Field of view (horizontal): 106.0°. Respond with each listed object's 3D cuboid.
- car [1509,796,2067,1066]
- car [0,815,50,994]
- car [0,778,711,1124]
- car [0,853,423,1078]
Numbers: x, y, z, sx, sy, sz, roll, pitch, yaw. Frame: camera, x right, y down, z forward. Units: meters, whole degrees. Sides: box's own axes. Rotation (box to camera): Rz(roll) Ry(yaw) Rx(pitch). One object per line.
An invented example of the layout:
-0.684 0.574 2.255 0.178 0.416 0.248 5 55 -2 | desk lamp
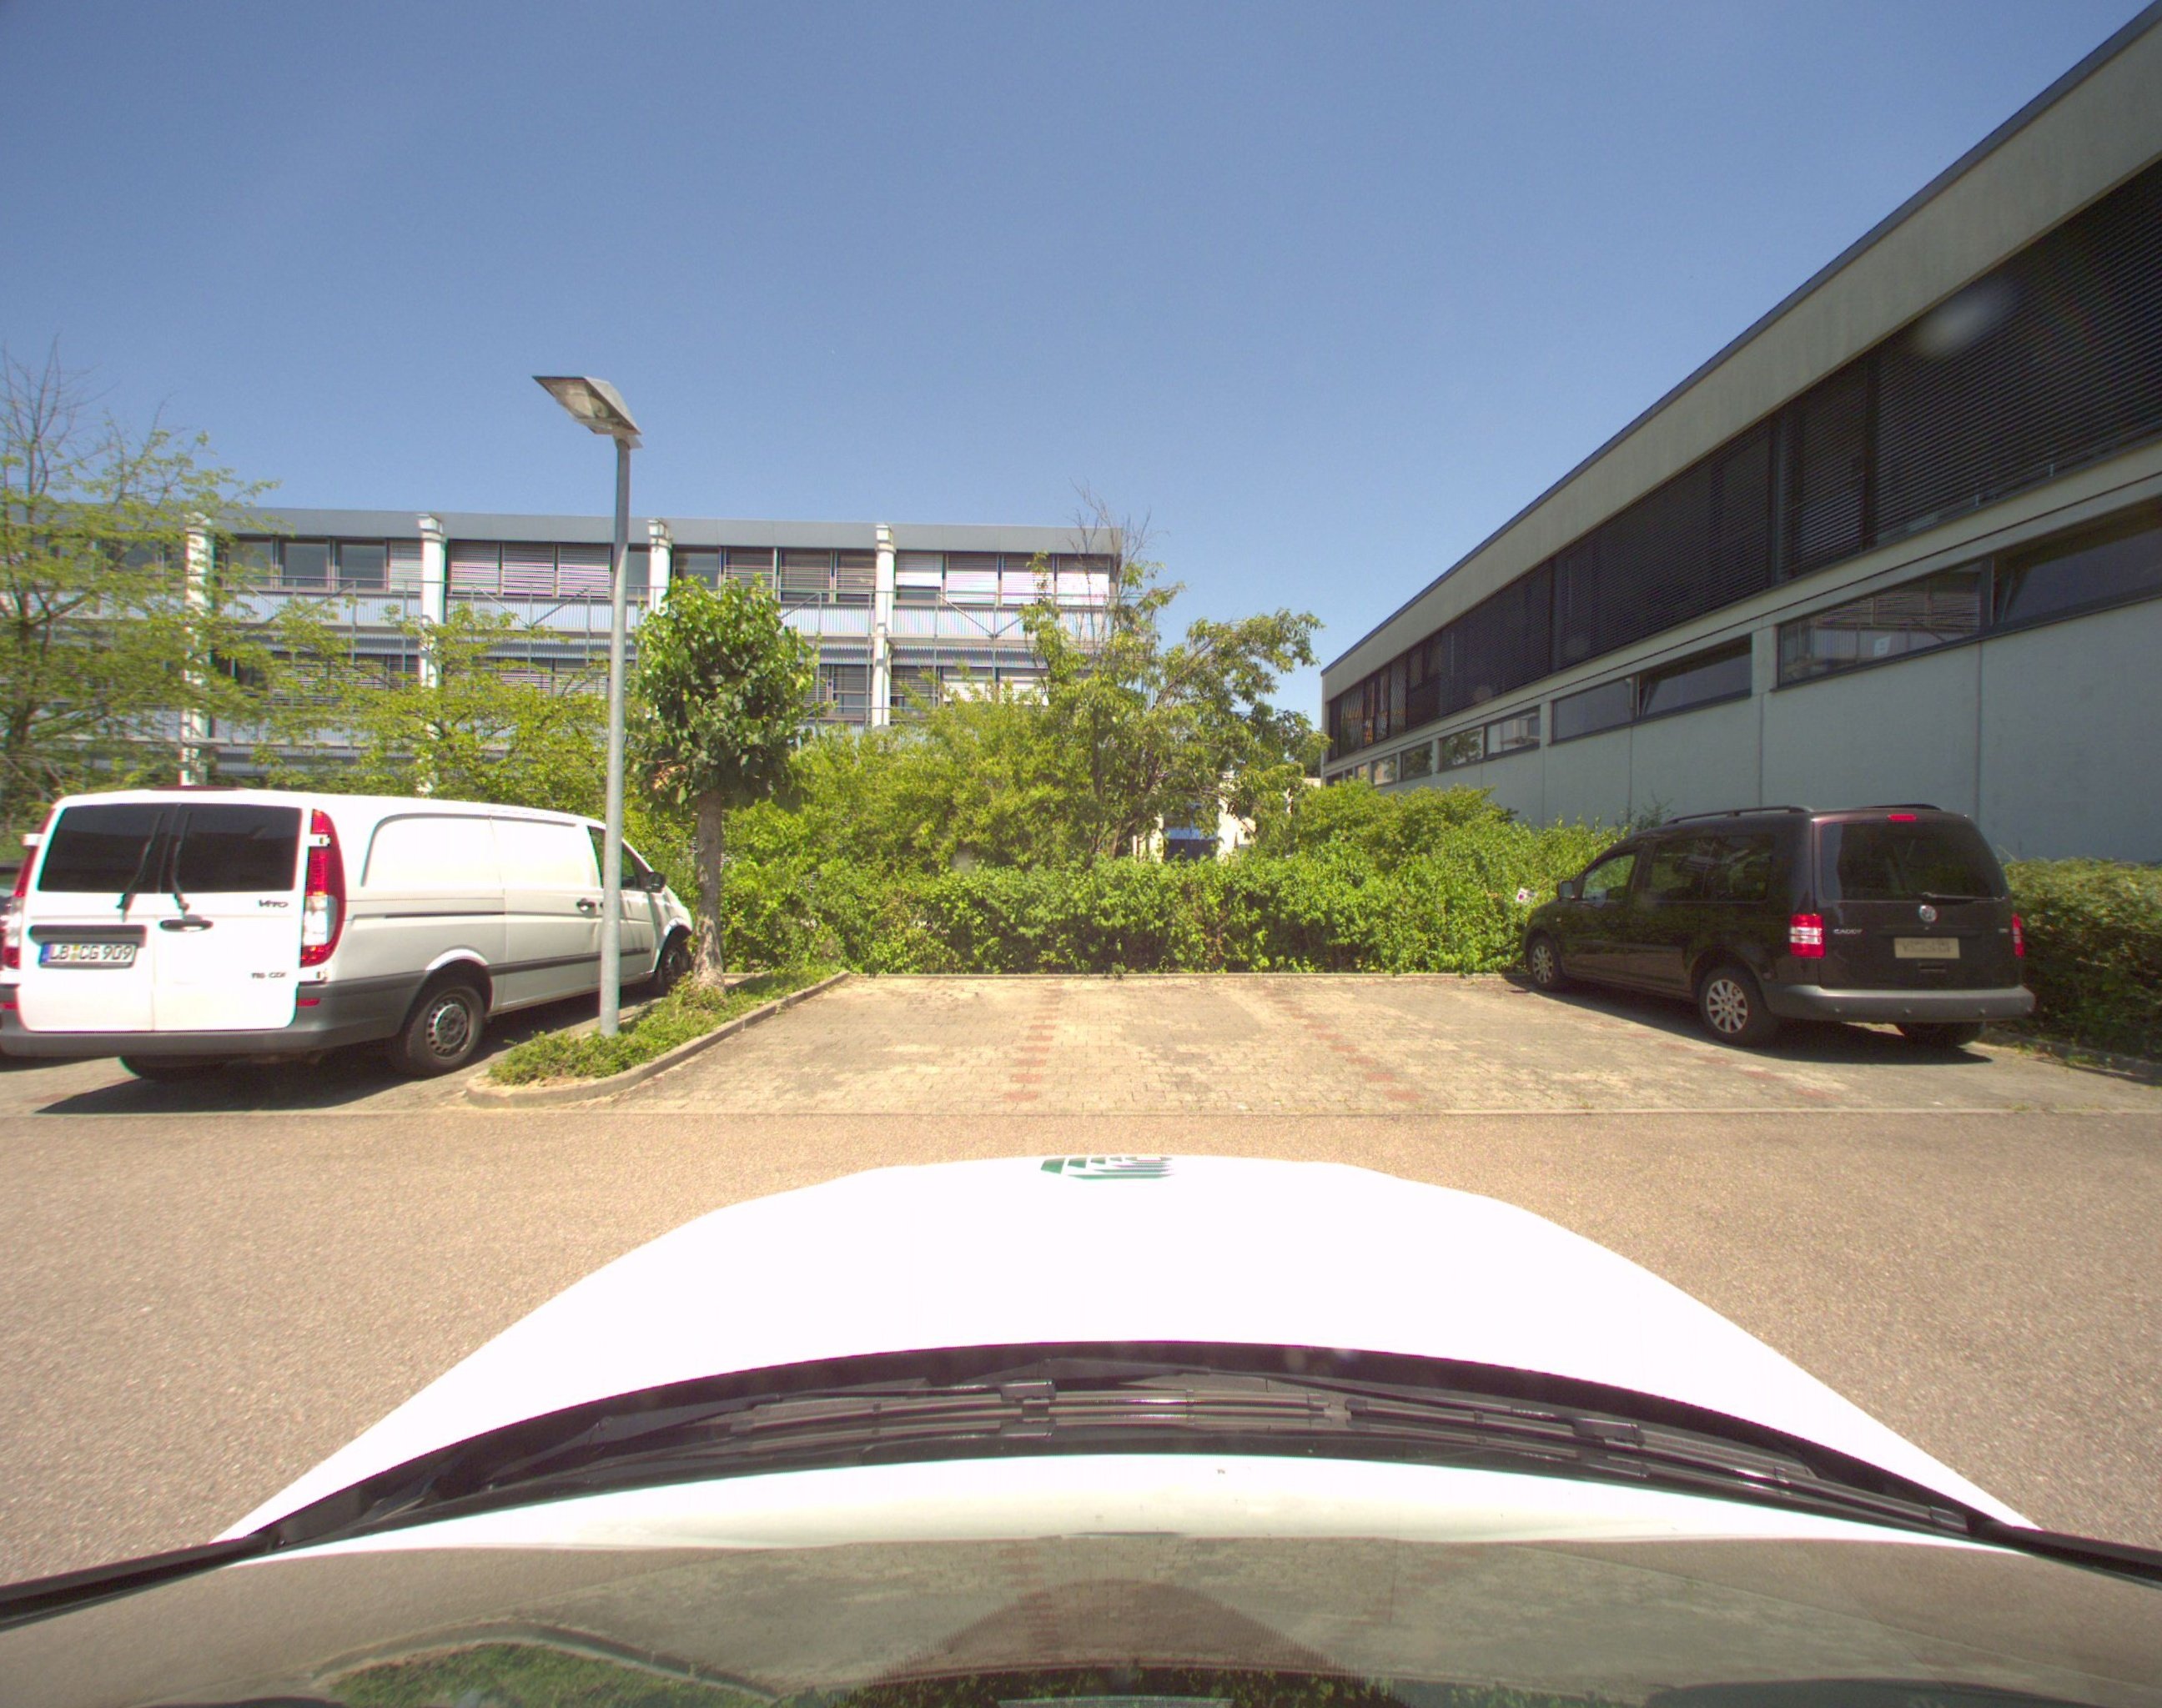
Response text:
5.896 0.536 7.580 1.737 1.837 3.999 0 0 0 | car
-12.413 0.535 6.609 1.874 1.891 4.805 0 0 2 | car
-5.170 0.528 6.928 1.907 1.905 4.806 0 0 -1 | car
-8.126 0.737 7.244 1.754 1.476 3.988 0 0 -9 | car
